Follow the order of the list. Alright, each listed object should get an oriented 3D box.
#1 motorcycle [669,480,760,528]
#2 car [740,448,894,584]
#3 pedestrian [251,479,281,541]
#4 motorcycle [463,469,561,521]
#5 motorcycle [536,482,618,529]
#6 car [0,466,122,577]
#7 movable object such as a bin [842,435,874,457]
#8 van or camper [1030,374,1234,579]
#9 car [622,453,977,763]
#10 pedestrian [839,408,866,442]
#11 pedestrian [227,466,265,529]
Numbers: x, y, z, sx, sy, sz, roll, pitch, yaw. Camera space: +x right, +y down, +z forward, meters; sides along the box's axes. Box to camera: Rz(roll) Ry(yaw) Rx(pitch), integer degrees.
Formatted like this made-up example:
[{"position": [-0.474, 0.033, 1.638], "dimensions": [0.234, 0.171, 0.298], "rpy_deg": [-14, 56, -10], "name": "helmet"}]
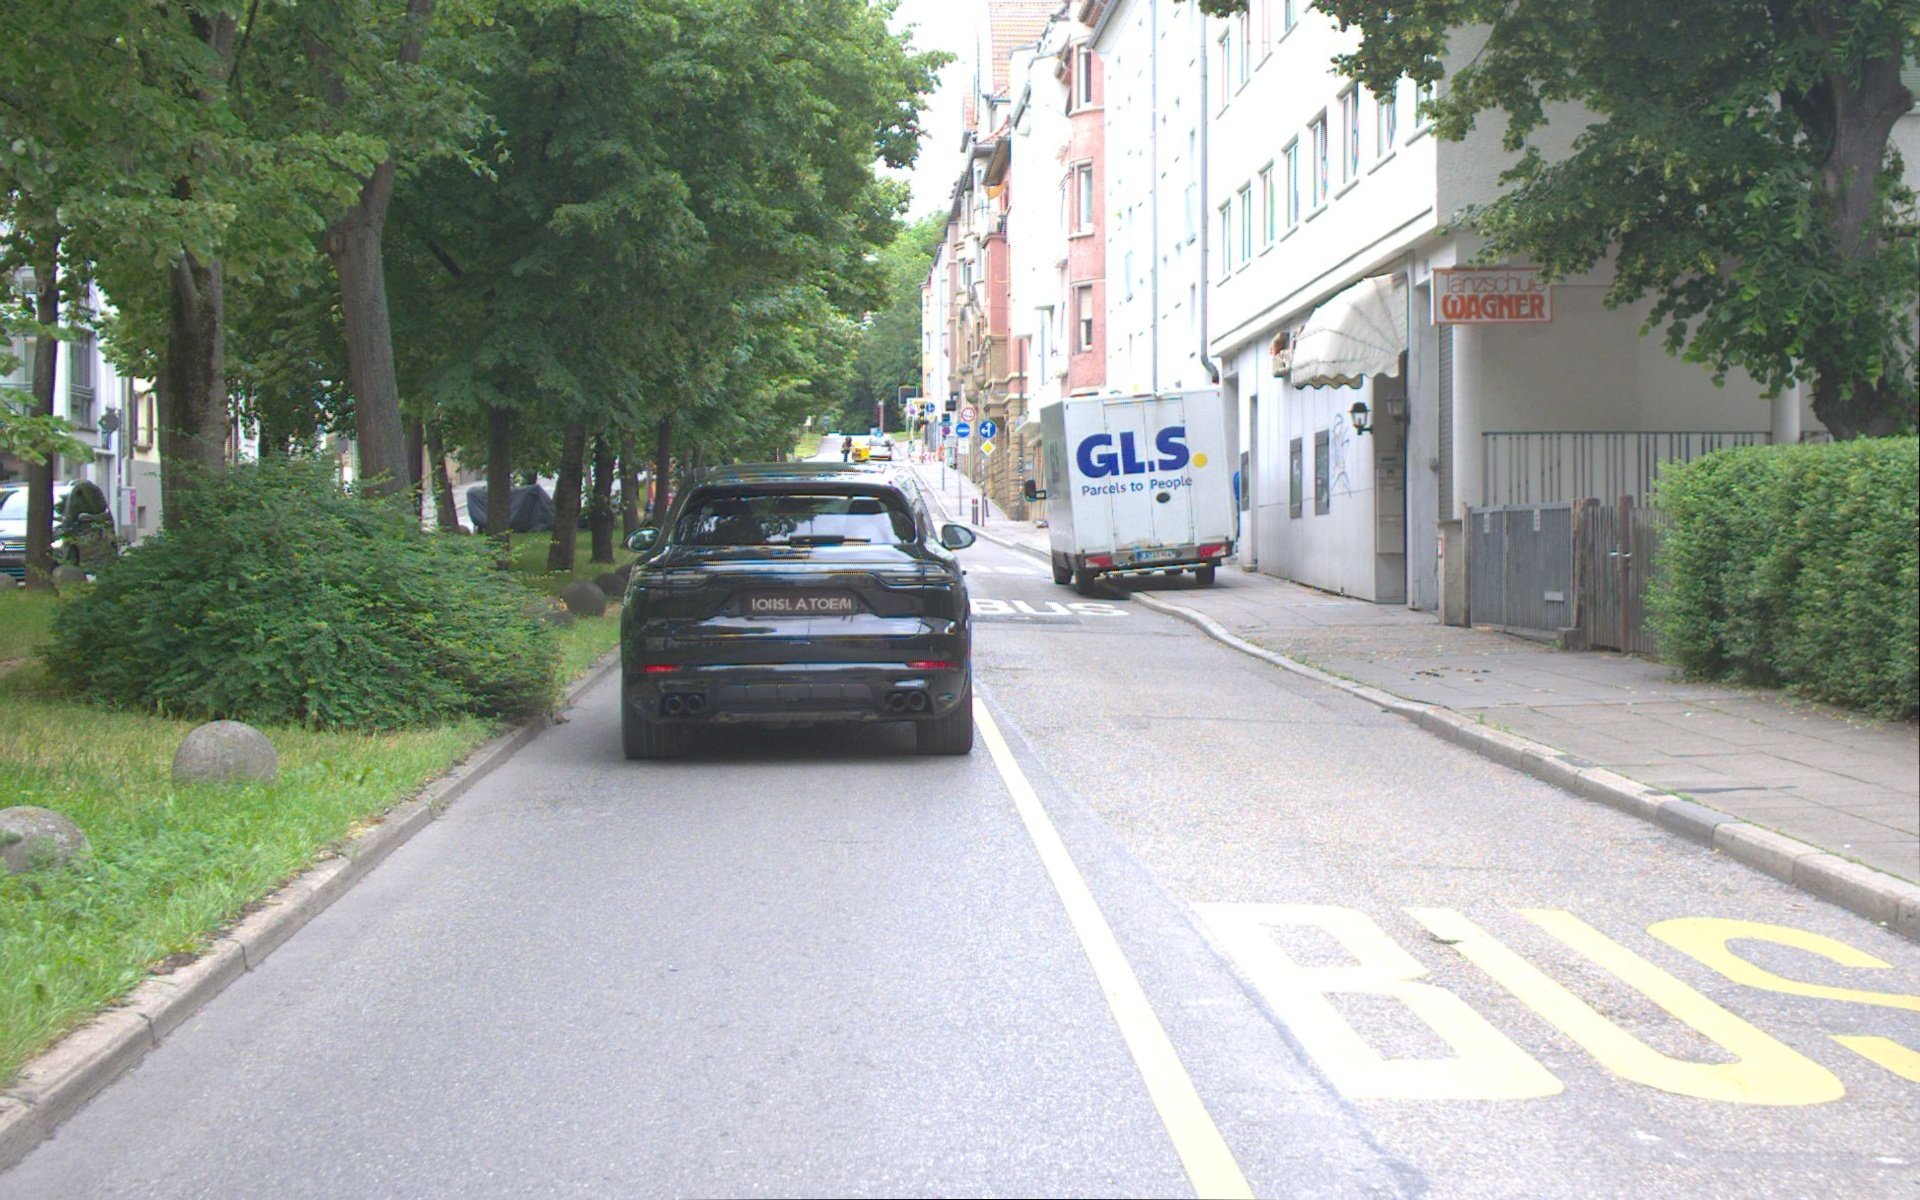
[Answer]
[{"position": [-6.445, -2.527, 90.361], "dimensions": [2.355, 1.231, 1.034], "rpy_deg": [0, 2, -3], "name": "motorcycle"}, {"position": [-1.897, -1.156, 46.398], "dimensions": [1.993, 1.747, 4.001], "rpy_deg": [0, 2, -1], "name": "car"}, {"position": [-18.155, -2.353, 89.982], "dimensions": [0.662, 1.610, 0.579], "rpy_deg": [0, 2, 0], "name": "pedestrian"}, {"position": [-11.401, -2.674, 87.576], "dimensions": [2.382, 1.312, 1.046], "rpy_deg": [0, 2, -3], "name": "motorcycle"}, {"position": [-10.138, -2.510, 90.999], "dimensions": [2.029, 1.231, 0.897], "rpy_deg": [0, 2, 4], "name": "motorcycle"}, {"position": [-14.181, -1.221, 52.291], "dimensions": [1.948, 1.623, 4.366], "rpy_deg": [0, 2, -3], "name": "car"}, {"position": [-6.023, -9.102, 202.734], "dimensions": [1.237, 1.270, 1.847], "rpy_deg": [-1, 2, -24], "name": "movable object such as a bin"}, {"position": [2.424, -1.818, 50.612], "dimensions": [2.480, 2.793, 7.239], "rpy_deg": [0, 2, -1], "name": "van or camper"}, {"position": [-0.981, -0.033, 20.533], "dimensions": [1.903, 1.660, 4.136], "rpy_deg": [0, 2, -3], "name": "car"}, {"position": [-6.383, -10.393, 203.879], "dimensions": [1.301, 2.006, 1.020], "rpy_deg": [-1, 2, -21], "name": "pedestrian"}, {"position": [-18.329, -2.628, 88.257], "dimensions": [0.635, 1.607, 0.763], "rpy_deg": [2, 3, 19], "name": "pedestrian"}]
